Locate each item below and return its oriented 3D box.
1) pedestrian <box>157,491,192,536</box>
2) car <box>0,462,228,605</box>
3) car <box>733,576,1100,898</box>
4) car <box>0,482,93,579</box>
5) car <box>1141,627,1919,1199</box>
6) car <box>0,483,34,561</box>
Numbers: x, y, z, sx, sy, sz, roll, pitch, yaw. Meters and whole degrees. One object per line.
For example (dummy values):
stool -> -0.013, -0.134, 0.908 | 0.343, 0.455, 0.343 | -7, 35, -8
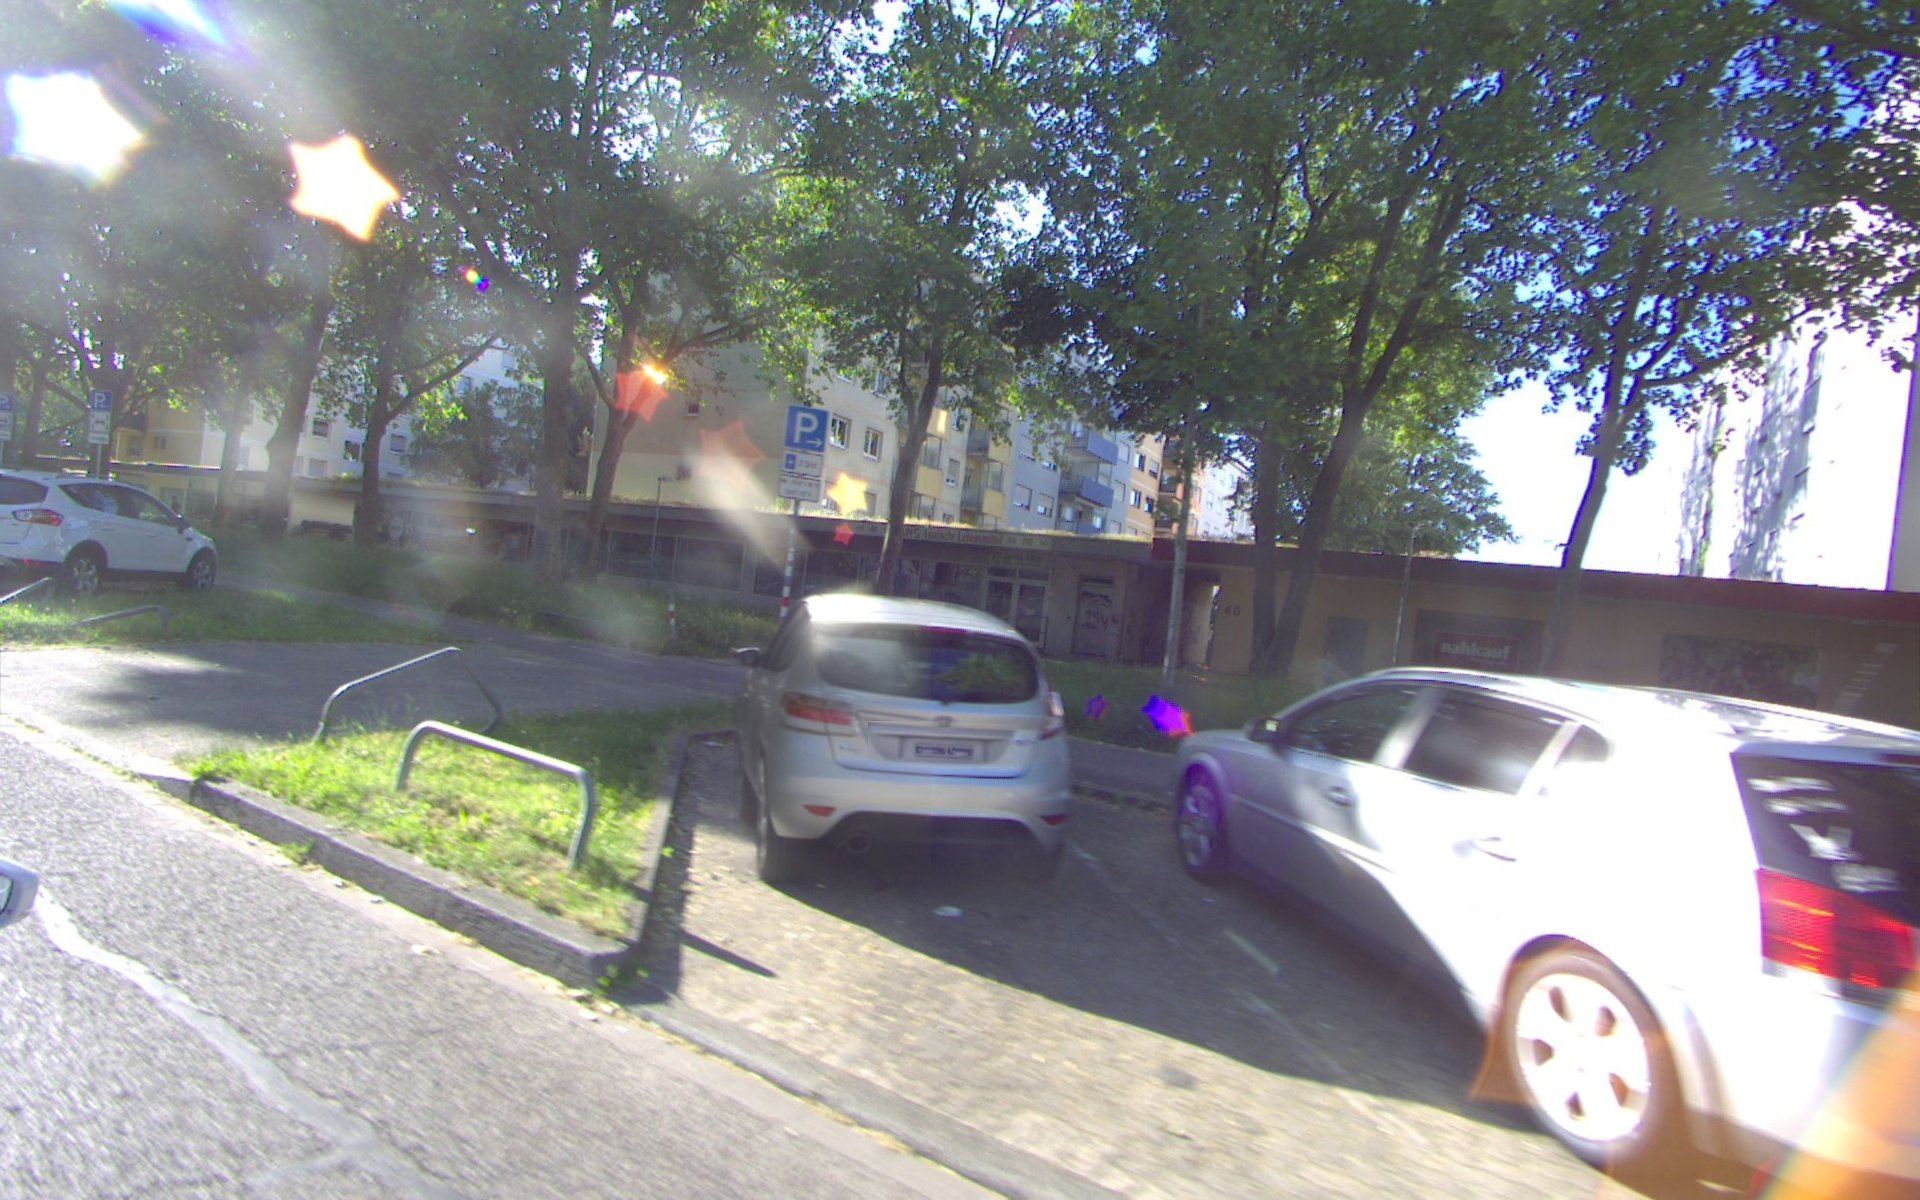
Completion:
pedestrian -> -37.074, -4.077, 47.471 | 0.855, 1.938, 0.874 | 7, 1, 23
car -> -12.613, -0.944, 14.363 | 1.730, 1.727, 4.020 | 6, 1, -9
car -> -0.601, 0.635, 6.613 | 1.562, 1.391, 3.926 | 4, 1, -14
car -> -15.526, -1.146, 15.420 | 1.624, 1.489, 3.778 | 6, 1, -11
car -> 2.515, 1.044, 4.572 | 1.692, 1.430, 4.172 | 6, 1, -13
car -> -18.653, -1.511, 17.878 | 1.625, 1.467, 3.615 | 6, 1, -14
